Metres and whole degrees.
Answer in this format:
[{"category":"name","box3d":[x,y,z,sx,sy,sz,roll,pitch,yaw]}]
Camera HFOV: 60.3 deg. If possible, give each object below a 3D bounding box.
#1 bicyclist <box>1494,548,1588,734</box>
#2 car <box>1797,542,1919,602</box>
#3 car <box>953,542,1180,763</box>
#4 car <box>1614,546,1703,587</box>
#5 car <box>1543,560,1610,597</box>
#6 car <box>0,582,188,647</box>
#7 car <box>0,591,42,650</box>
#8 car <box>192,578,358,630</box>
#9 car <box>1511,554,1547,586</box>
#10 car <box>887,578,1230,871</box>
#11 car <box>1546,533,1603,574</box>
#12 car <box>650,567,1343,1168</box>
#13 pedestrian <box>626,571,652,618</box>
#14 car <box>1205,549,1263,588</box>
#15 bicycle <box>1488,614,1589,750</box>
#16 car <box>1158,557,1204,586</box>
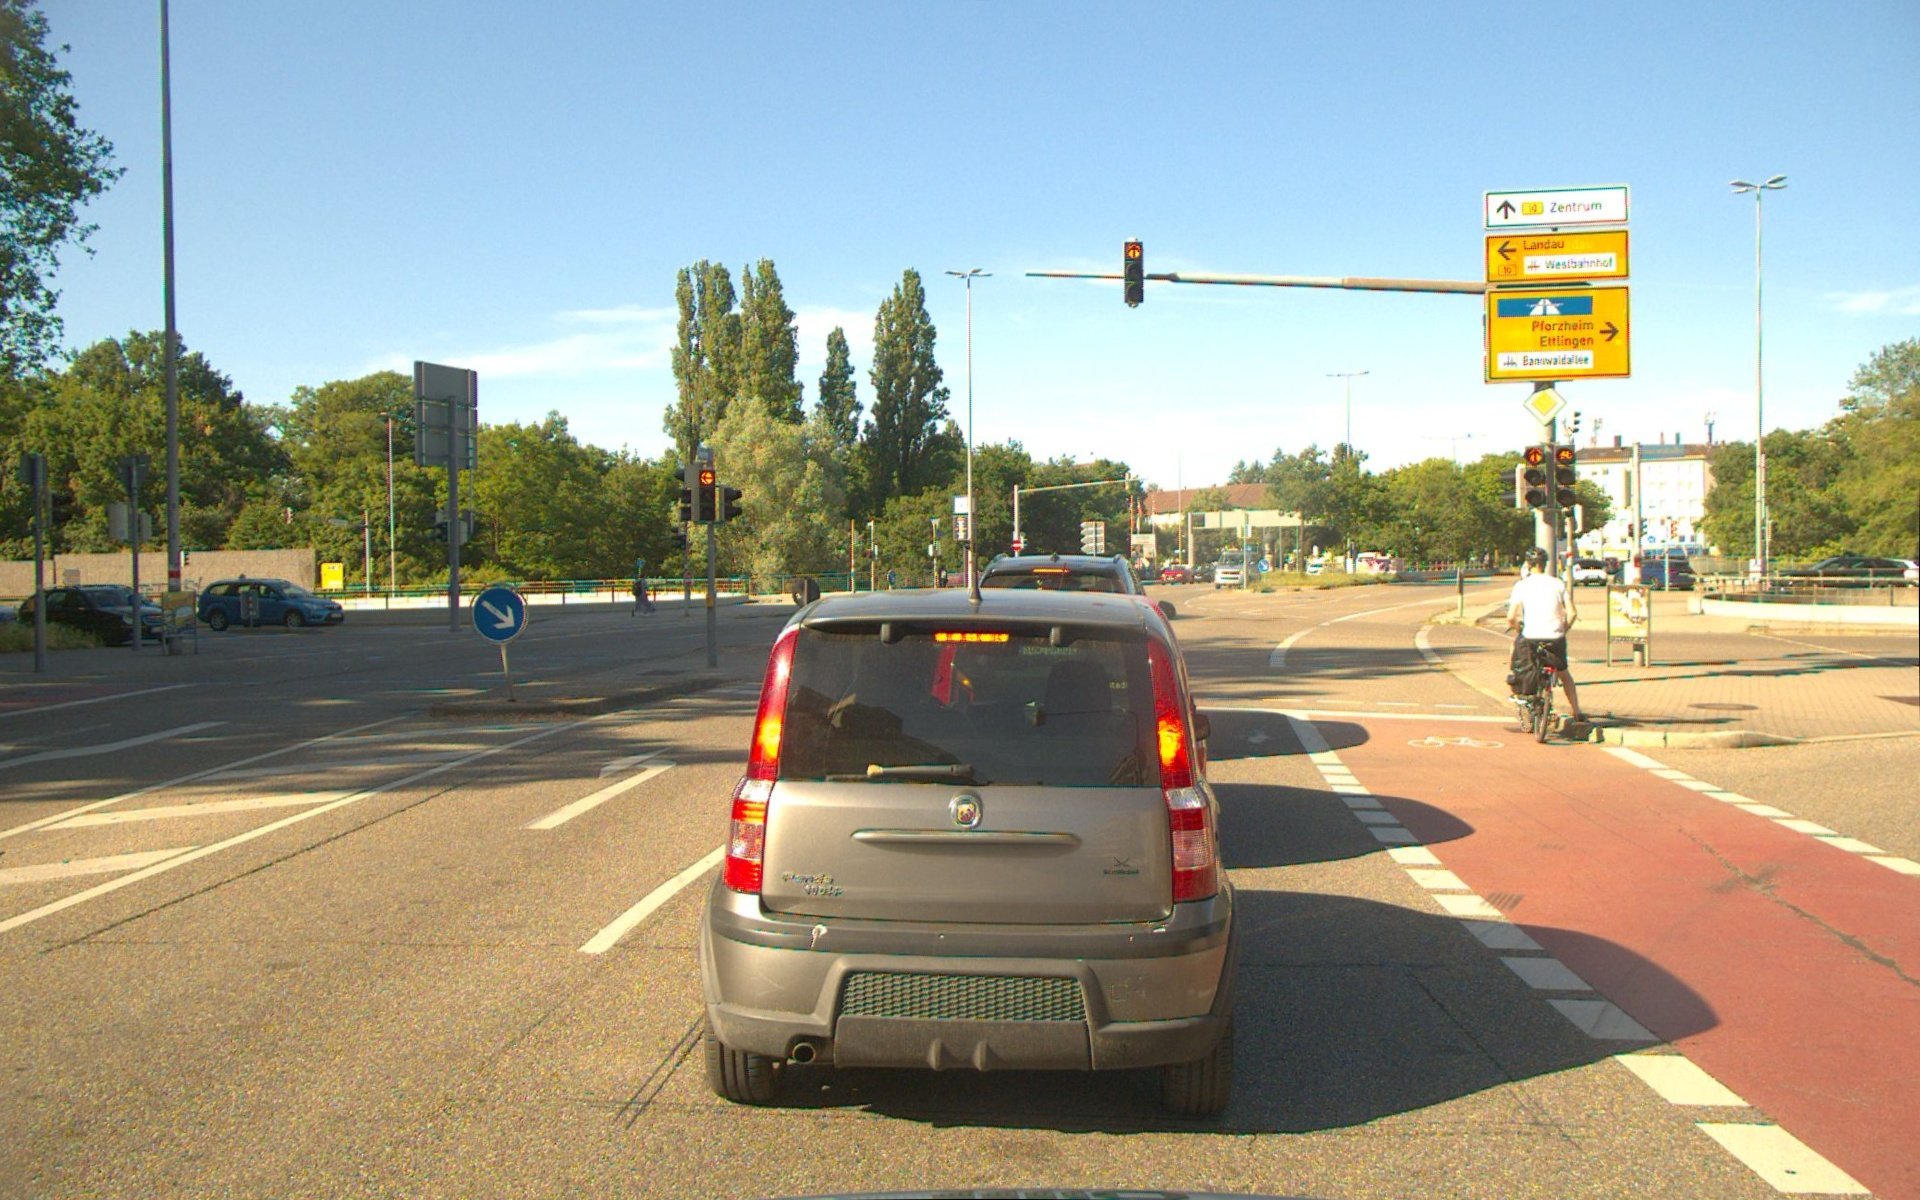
[{"category":"bicyclist","box3d":[5.658,0.367,16.085,0.783,1.734,1.085,1,1,23]},{"category":"car","box3d":[33.200,-0.994,60.933,3.922,2.049,1.991,-1,-2,38]},{"category":"car","box3d":[1.175,0.391,16.098,1.829,1.821,4.418,1,1,8]},{"category":"car","box3d":[33.550,-1.633,79.591,1.973,1.887,4.883,-1,1,-3]},{"category":"car","box3d":[32.776,-1.129,87.974,1.953,1.781,3.998,0,-1,-2]},{"category":"car","box3d":[-21.015,0.348,39.908,4.345,1.464,1.826,-1,1,22]},{"category":"car","box3d":[-26.411,0.556,43.255,4.345,1.464,1.826,-1,1,22]},{"category":"car","box3d":[-20.679,0.103,49.983,4.341,1.464,1.828,-1,1,12]},{"category":"car","box3d":[34.738,-1.798,100.906,1.952,1.781,4.000,0,-2,21]},{"category":"car","box3d":[0.587,0.639,10.710,1.782,1.505,4.001,1,0,2]},{"category":"car","box3d":[43.504,-3.273,116.985,2.220,2.653,4.858,-1,-2,41]},{"category":"car","box3d":[0.186,0.669,6.347,1.782,1.515,4.002,2,1,3]},{"category":"pedestrian","box3d":[-11.227,-0.192,57.927,0.673,1.565,1.365,0,-3,-3]},{"category":"car","box3d":[14.922,-1.679,89.900,1.972,1.887,4.884,0,-2,23]},{"category":"bicycle","box3d":[5.659,0.747,16.100,0.783,1.130,2.402,1,2,23]},{"category":"car","box3d":[16.462,-2.107,123.127,1.973,1.887,4.882,0,-2,25]}]
